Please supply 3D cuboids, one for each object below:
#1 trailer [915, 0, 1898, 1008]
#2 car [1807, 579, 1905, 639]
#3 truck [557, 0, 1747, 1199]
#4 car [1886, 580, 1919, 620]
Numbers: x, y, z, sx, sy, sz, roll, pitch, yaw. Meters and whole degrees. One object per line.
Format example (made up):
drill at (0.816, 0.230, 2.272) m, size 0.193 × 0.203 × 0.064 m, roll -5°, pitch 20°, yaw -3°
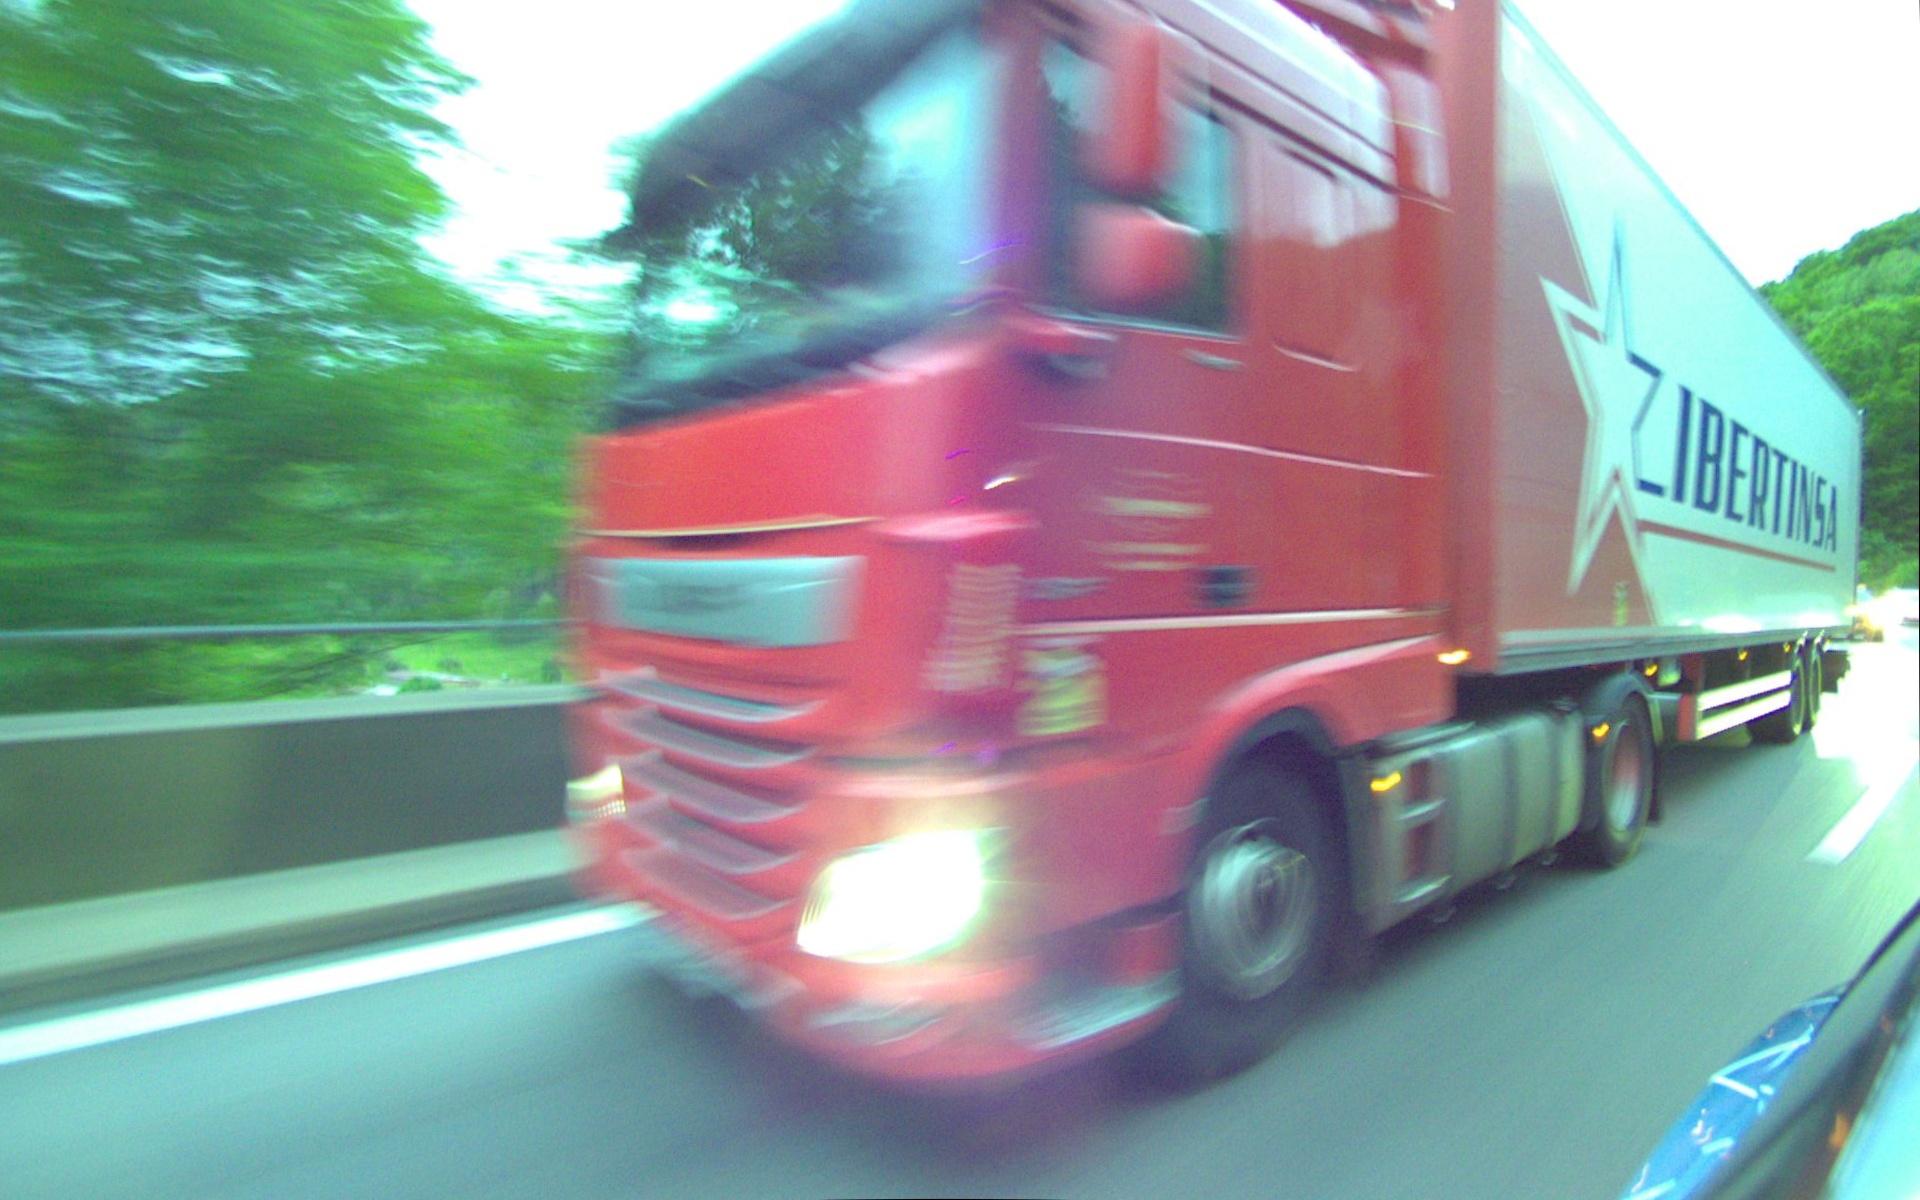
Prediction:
trailer at (5.949, -0.625, 9.628) m, size 13.976 × 4.018 × 3.102 m, roll -1°, pitch 3°, yaw -42°
car at (27.666, 0.225, 31.378) m, size 1.990 × 1.660 × 3.945 m, roll 3°, pitch 2°, yaw 38°
truck at (1.575, -0.698, 5.546) m, size 6.335 × 4.195 × 3.075 m, roll 0°, pitch 3°, yaw -42°
car at (40.025, 0.049, 42.030) m, size 1.993 × 1.525 × 3.942 m, roll 7°, pitch 5°, yaw 40°
